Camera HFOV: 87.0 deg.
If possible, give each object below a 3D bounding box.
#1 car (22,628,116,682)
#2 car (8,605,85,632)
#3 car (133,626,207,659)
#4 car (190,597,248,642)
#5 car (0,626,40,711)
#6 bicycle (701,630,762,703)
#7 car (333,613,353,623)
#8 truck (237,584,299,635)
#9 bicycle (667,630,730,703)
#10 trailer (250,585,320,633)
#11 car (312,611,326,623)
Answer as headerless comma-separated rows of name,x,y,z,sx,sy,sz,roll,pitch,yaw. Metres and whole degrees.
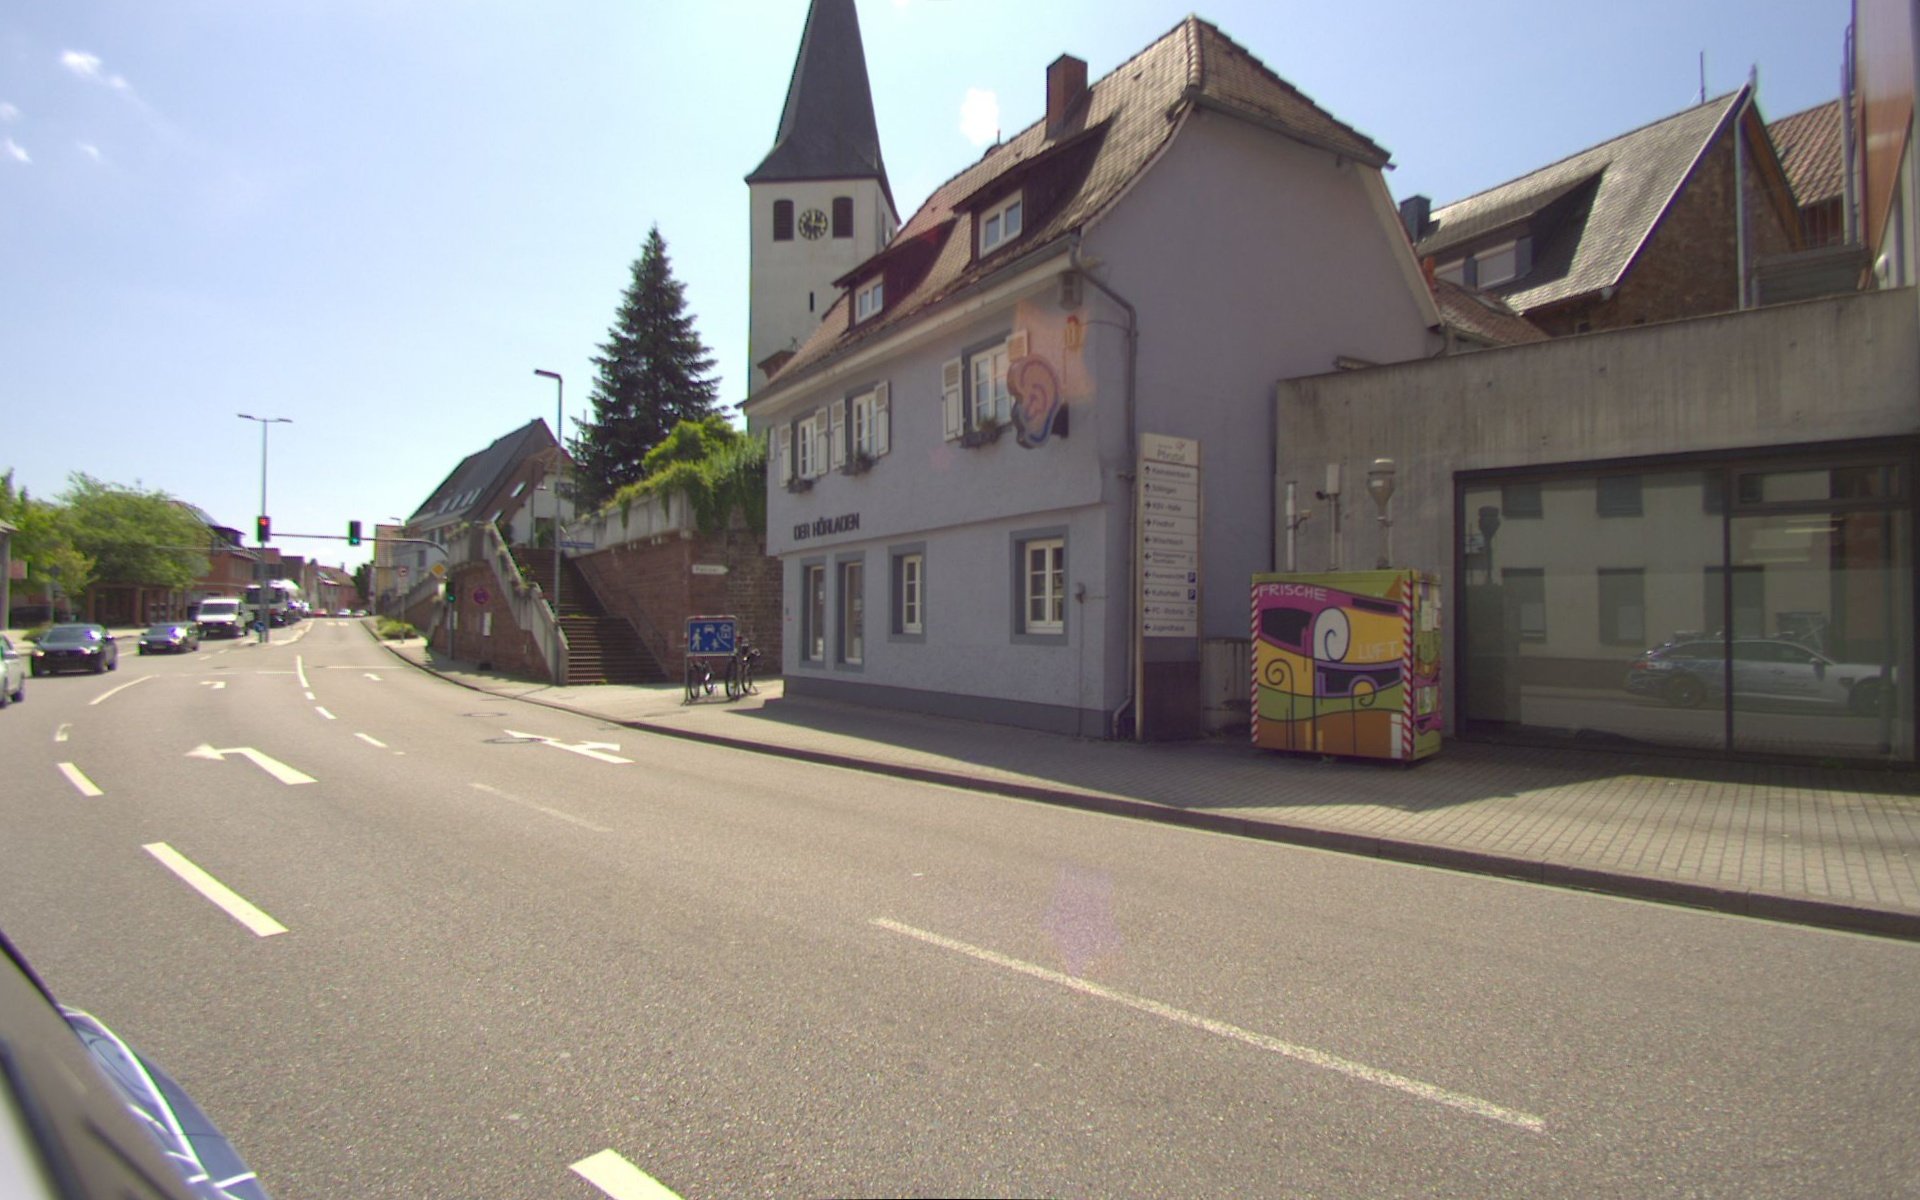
car,-29.814,1.786,33.987,1.697,1.562,4.315,-1,0,-33
car,-62.651,1.258,69.475,3.700,1.723,1.729,-2,1,-34
car,-37.645,1.993,48.325,1.897,1.376,4.317,-1,0,-26
car,-44.455,1.152,60.813,2.139,2.583,4.839,0,-1,-28
car,-19.769,1.354,20.011,1.697,1.562,4.314,-1,0,-34
bicycle,-4.444,1.261,19.791,0.571,1.258,1.829,-4,0,4
car,-98.560,2.873,161.671,1.978,1.643,4.593,0,-1,-23
truck,-50.737,0.693,74.317,2.800,3.597,5.486,0,-1,-24
bicycle,-5.087,1.274,19.777,0.571,1.258,1.829,-4,0,4
trailer,-53.425,0.768,80.390,2.790,3.597,11.001,0,-1,-24
car,-100.546,2.699,158.704,1.737,1.799,4.012,-1,0,-31
